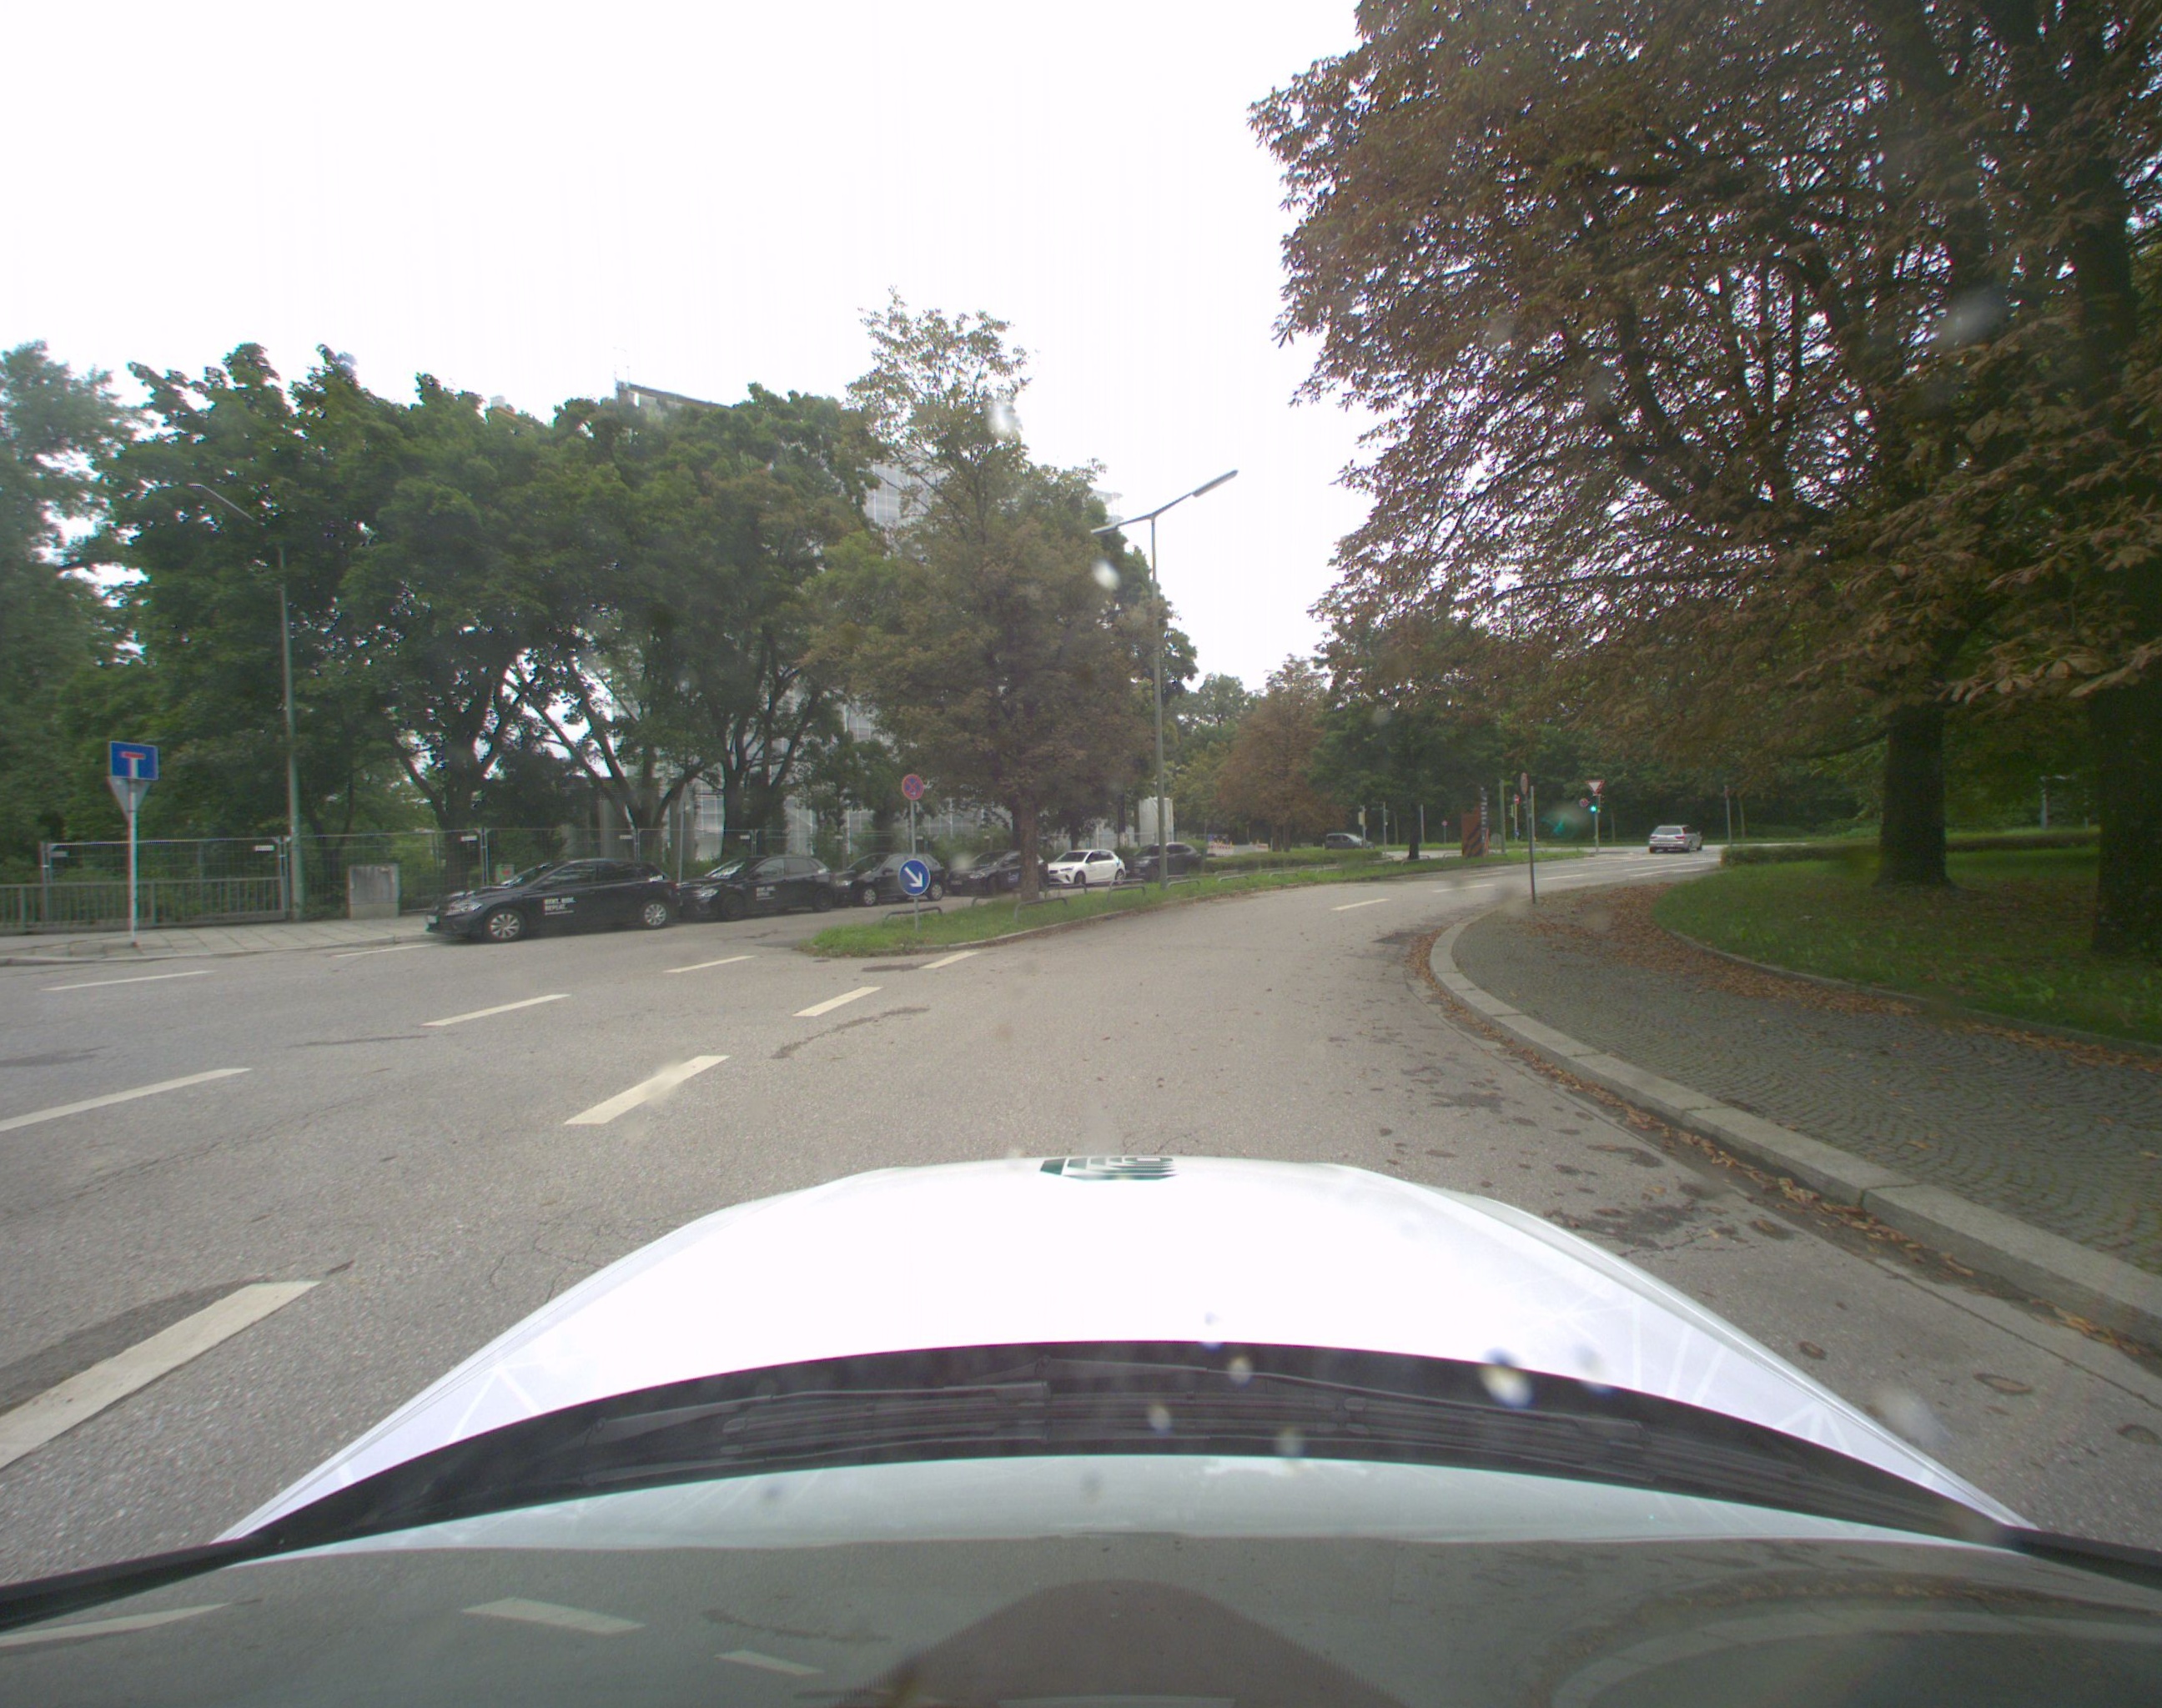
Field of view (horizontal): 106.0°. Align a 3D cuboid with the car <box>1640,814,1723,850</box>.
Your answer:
[{"bbox_3d":[31.318,-1.135,42.469,4.138,1.750,1.981,-2,0,-31],"label":"car"}]

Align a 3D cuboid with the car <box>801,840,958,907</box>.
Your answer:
[{"bbox_3d":[-5.659,0.513,23.286,1.974,1.706,4.026,-2,0,34],"label":"car"}]

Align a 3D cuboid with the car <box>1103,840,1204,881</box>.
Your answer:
[{"bbox_3d":[3.140,0.290,34.591,1.868,1.606,4.422,-2,-2,44],"label":"car"}]

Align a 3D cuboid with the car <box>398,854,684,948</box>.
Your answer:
[{"bbox_3d":[-10.093,0.764,15.521,1.974,1.432,4.069,1,2,34],"label":"car"}]

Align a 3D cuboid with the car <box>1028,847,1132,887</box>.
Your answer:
[{"bbox_3d":[0.044,0.478,31.239,1.778,1.383,4.245,-2,0,36],"label":"car"}]

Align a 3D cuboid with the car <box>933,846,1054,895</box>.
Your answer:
[{"bbox_3d":[-2.830,0.507,27.181,1.816,1.461,4.032,-2,0,34],"label":"car"}]

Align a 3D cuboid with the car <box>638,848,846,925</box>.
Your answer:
[{"bbox_3d":[-7.795,0.683,19.062,1.974,1.541,4.026,-2,0,34],"label":"car"}]

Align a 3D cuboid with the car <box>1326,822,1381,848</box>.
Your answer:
[{"bbox_3d":[23.239,-1.617,69.565,2.009,2.013,3.955,-2,1,-37],"label":"car"}]
